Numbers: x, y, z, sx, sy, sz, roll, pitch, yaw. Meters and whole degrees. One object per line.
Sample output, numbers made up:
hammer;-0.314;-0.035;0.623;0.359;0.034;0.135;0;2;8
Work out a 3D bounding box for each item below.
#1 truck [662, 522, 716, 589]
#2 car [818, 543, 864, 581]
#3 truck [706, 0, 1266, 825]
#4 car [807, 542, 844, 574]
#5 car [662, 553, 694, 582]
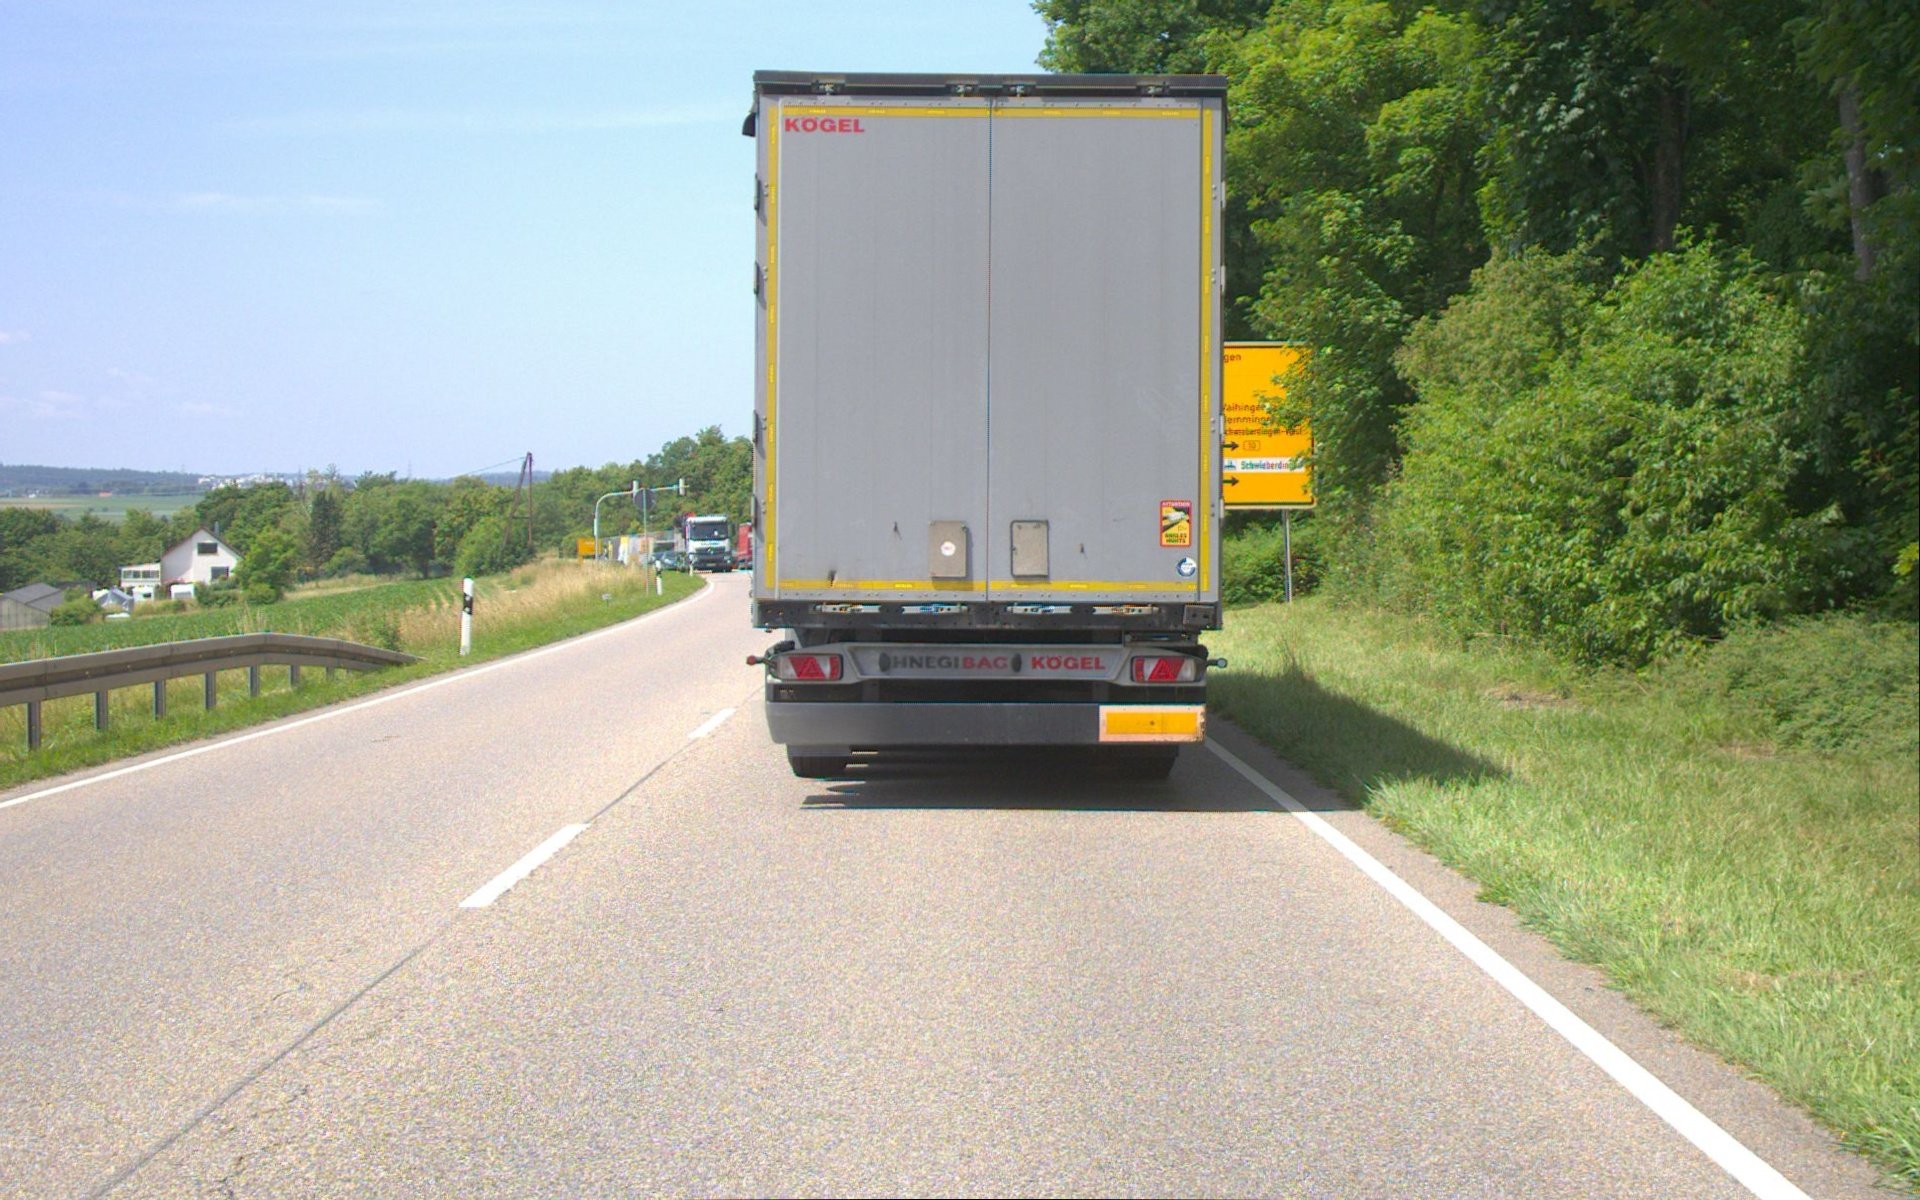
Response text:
truck;-15.406;-2.504;194.748;2.756;3.564;11.067;-3;1;-5
car;-6.614;-2.096;190.364;2.171;2.007;4.527;-3;1;-5
truck;0.108;-1.117;22.481;2.907;4.394;8.860;0;1;0
car;-7.988;-2.504;203.761;1.892;1.771;4.387;-3;1;-5
car;-20.304;-2.337;247.686;1.993;1.943;4.504;-3;1;-8
